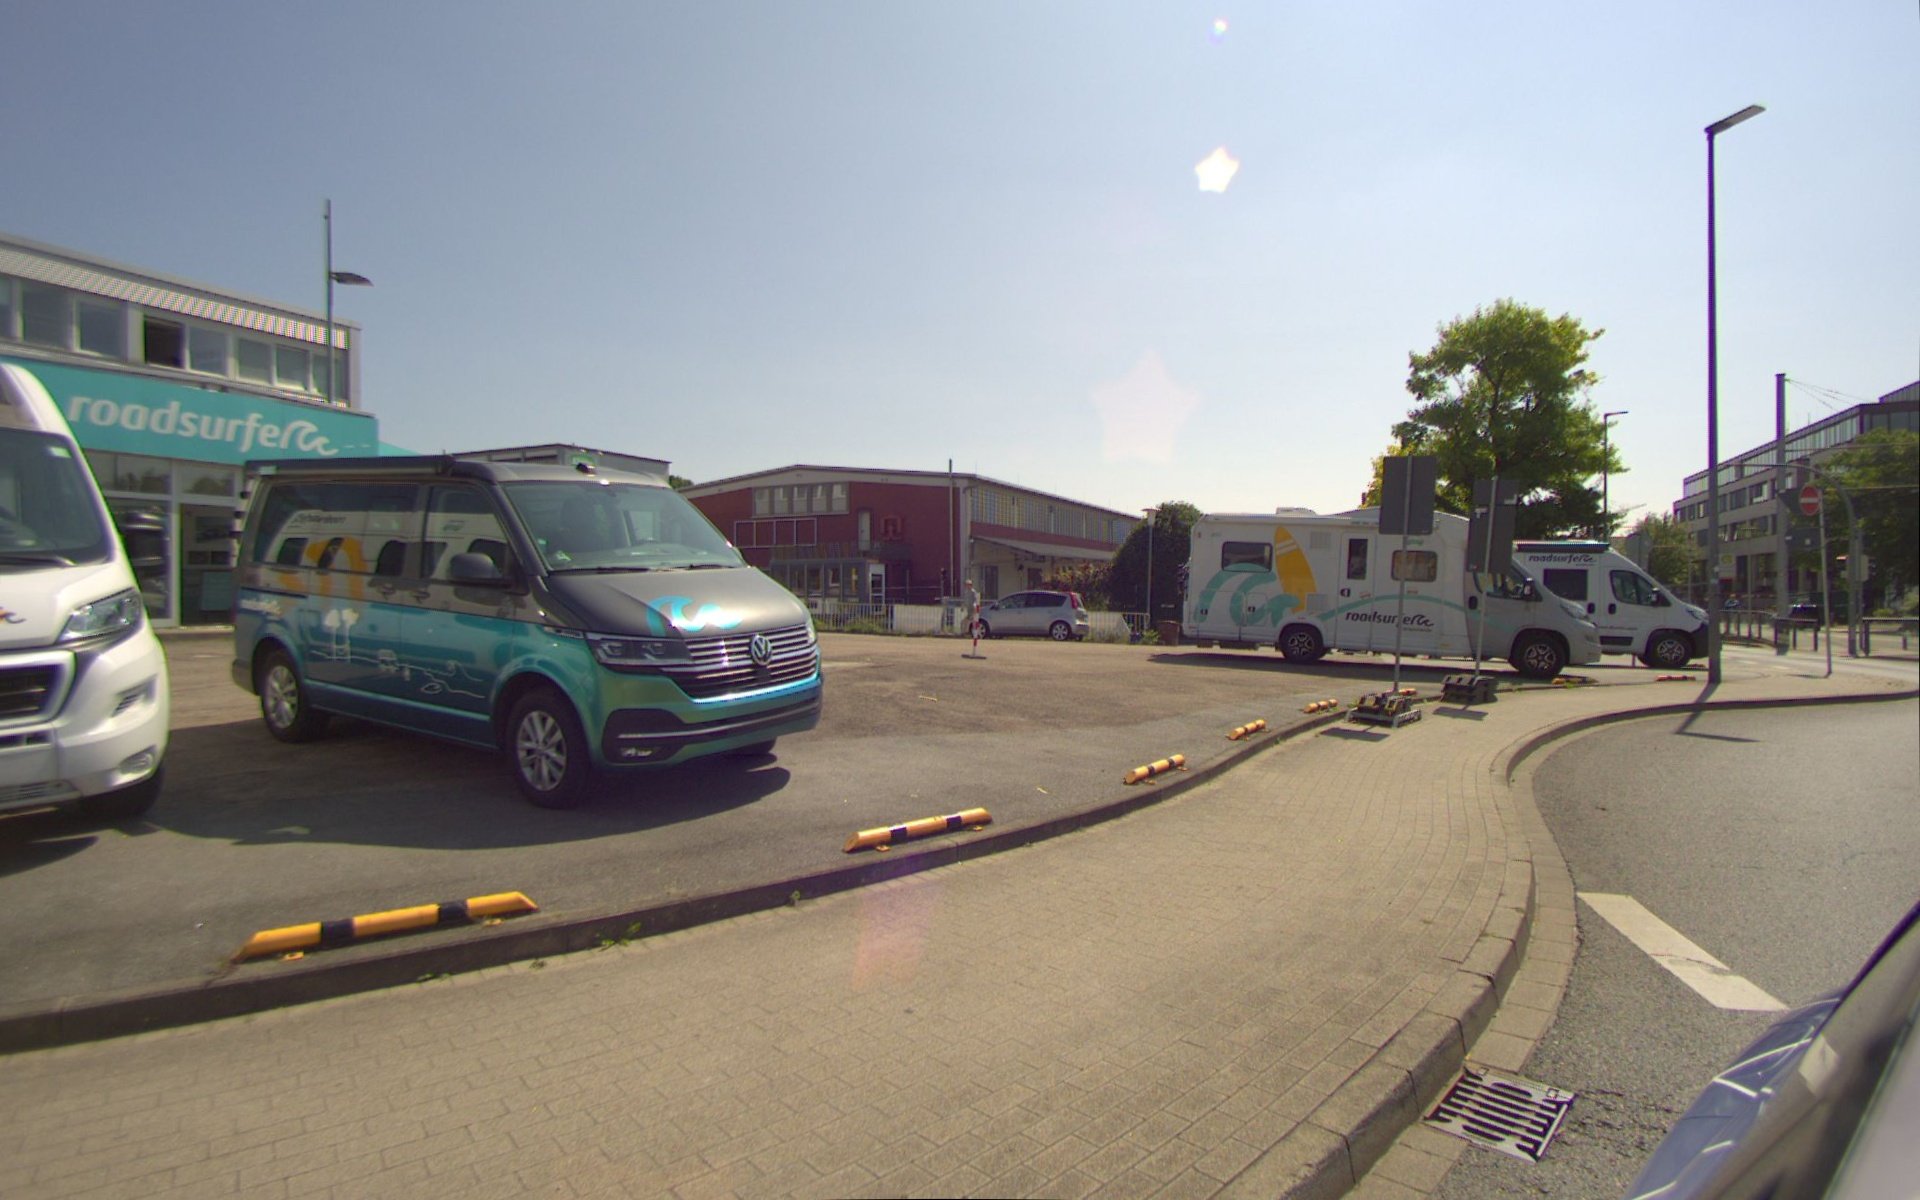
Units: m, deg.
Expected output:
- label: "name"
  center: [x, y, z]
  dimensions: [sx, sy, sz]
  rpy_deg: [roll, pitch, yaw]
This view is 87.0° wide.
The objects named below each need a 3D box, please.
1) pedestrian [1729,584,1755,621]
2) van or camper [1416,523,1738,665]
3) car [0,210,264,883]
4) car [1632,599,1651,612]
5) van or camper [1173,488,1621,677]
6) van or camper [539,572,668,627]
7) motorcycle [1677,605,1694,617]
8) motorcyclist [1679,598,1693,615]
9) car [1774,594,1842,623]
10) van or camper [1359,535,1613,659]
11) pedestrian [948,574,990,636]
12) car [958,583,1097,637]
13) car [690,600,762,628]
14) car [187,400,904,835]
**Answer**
- label: "pedestrian"
  center: [37.393, 0.132, 48.400]
  dimensions: [0.718, 1.747, 0.936]
  rpy_deg: [-1, -1, 24]
- label: "van or camper"
  center: [13.233, -0.147, 22.223]
  dimensions: [5.775, 2.809, 2.070]
  rpy_deg: [1, -1, 28]
- label: "car"
  center: [-6.573, -0.259, 5.657]
  dimensions: [6.112, 2.751, 2.279]
  rpy_deg: [1, 0, 33]
- label: "car"
  center: [90.290, 0.758, 134.127]
  dimensions: [1.858, 1.638, 3.955]
  rpy_deg: [1, 0, 31]
- label: "van or camper"
  center: [7.650, -0.401, 18.458]
  dimensions: [7.011, 2.983, 2.315]
  rpy_deg: [2, 1, 25]
- label: "van or camper"
  center: [-18.507, -0.014, 52.510]
  dimensions: [6.673, 2.713, 2.325]
  rpy_deg: [0, 0, 26]
- label: "motorcycle"
  center: [66.155, 0.980, 92.290]
  dimensions: [0.816, 1.024, 1.948]
  rpy_deg: [0, 0, 23]
- label: "motorcyclist"
  center: [66.089, 0.597, 92.107]
  dimensions: [0.829, 1.494, 0.955]
  rpy_deg: [0, 0, 24]
- label: "car"
  center: [54.068, 0.520, 64.647]
  dimensions: [1.909, 1.602, 4.166]
  rpy_deg: [3, 3, 20]
- label: "van or camper"
  center: [13.128, -0.019, 25.559]
  dimensions: [5.475, 2.851, 2.026]
  rpy_deg: [0, -3, 29]
- label: "pedestrian"
  center: [0.255, 0.126, 28.332]
  dimensions: [0.773, 1.692, 0.933]
  rpy_deg: [1, 2, 36]
- label: "car"
  center: [2.069, 0.301, 30.867]
  dimensions: [3.850, 1.535, 1.802]
  rpy_deg: [0, -3, 22]
- label: "car"
  center: [-9.734, 0.581, 42.087]
  dimensions: [2.828, 1.108, 1.169]
  rpy_deg: [1, 0, 26]
- label: "car"
  center: [-3.125, -0.065, 7.223]
  dimensions: [5.187, 2.139, 2.075]
  rpy_deg: [3, 3, 31]
